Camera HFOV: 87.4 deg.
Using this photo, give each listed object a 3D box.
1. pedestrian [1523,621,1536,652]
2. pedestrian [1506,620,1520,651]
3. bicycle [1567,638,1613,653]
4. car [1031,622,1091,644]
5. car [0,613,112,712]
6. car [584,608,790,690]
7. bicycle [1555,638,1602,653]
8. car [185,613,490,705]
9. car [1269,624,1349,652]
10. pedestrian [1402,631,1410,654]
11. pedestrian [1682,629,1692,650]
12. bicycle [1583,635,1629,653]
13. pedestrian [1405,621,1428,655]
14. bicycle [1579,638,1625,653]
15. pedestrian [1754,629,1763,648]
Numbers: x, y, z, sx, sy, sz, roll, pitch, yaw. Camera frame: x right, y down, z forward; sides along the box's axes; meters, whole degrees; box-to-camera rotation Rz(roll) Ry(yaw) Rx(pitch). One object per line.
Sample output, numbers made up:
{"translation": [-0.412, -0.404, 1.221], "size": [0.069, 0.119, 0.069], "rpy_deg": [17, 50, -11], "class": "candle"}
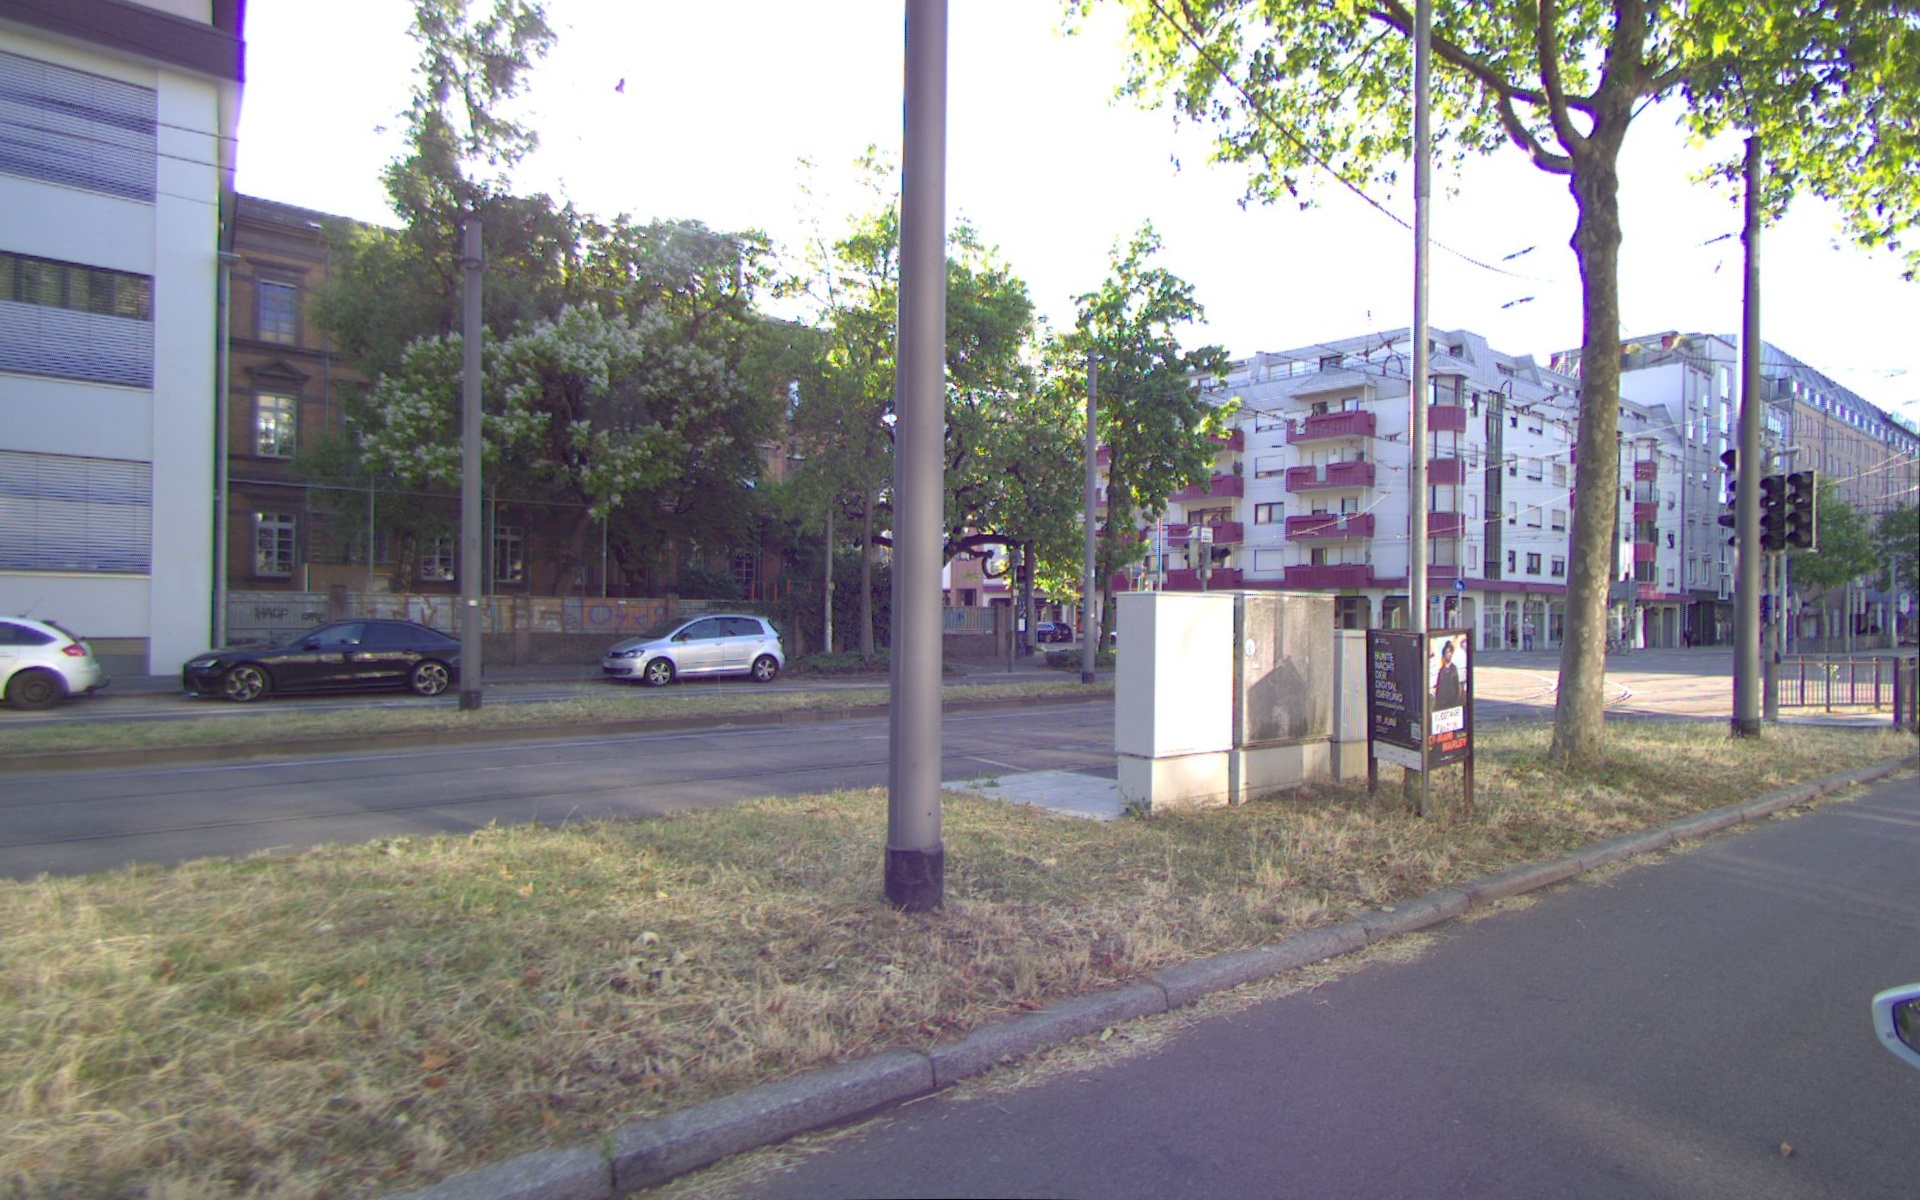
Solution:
{"translation": [31.759, 2.029, 56.024], "size": [0.523, 1.721, 0.506], "rpy_deg": [1, -1, -38], "class": "pedestrian"}
{"translation": [31.248, 2.013, 56.773], "size": [0.523, 1.721, 0.506], "rpy_deg": [1, -1, -38], "class": "pedestrian"}
{"translation": [35.228, 2.531, 56.229], "size": [0.488, 0.797, 2.152], "rpy_deg": [1, -1, -39], "class": "bicycle"}
{"translation": [7.048, 2.268, 70.128], "size": [3.946, 1.483, 1.791], "rpy_deg": [-2, -2, 44], "class": "car"}
{"translation": [-15.809, 0.930, 15.269], "size": [4.368, 1.490, 1.978], "rpy_deg": [1, -1, -39], "class": "car"}
{"translation": [-6.199, 1.062, 23.010], "size": [4.142, 1.711, 1.978], "rpy_deg": [1, -1, -39], "class": "car"}
{"translation": [34.479, 2.522, 55.981], "size": [0.635, 0.797, 2.152], "rpy_deg": [1, -1, -39], "class": "bicycle"}
{"translation": [-11.437, 1.015, 18.620], "size": [4.610, 1.495, 1.978], "rpy_deg": [1, -1, -39], "class": "car"}
{"translation": [19.782, 2.140, 57.042], "size": [3.943, 1.483, 1.792], "rpy_deg": [-2, -2, 43], "class": "car"}
{"translation": [24.027, 2.297, 54.149], "size": [0.316, 1.230, 0.301], "rpy_deg": [1, -2, -41], "class": "pedestrian"}
{"translation": [52.103, 2.818, 71.990], "size": [0.524, 1.478, 0.505], "rpy_deg": [1, -1, -44], "class": "pedestrian"}
{"translation": [36.865, 2.492, 57.346], "size": [0.488, 0.963, 2.152], "rpy_deg": [1, -1, -39], "class": "bicycle"}
{"translation": [22.854, 1.886, 50.286], "size": [1.025, 1.684, 0.702], "rpy_deg": [1, -2, -41], "class": "pedestrian"}
{"translation": [36.381, 2.570, 56.925], "size": [0.523, 0.835, 2.152], "rpy_deg": [1, -1, -39], "class": "bicycle"}
{"translation": [64.146, 3.101, 80.684], "size": [0.523, 1.478, 0.506], "rpy_deg": [1, -1, -38], "class": "pedestrian"}
